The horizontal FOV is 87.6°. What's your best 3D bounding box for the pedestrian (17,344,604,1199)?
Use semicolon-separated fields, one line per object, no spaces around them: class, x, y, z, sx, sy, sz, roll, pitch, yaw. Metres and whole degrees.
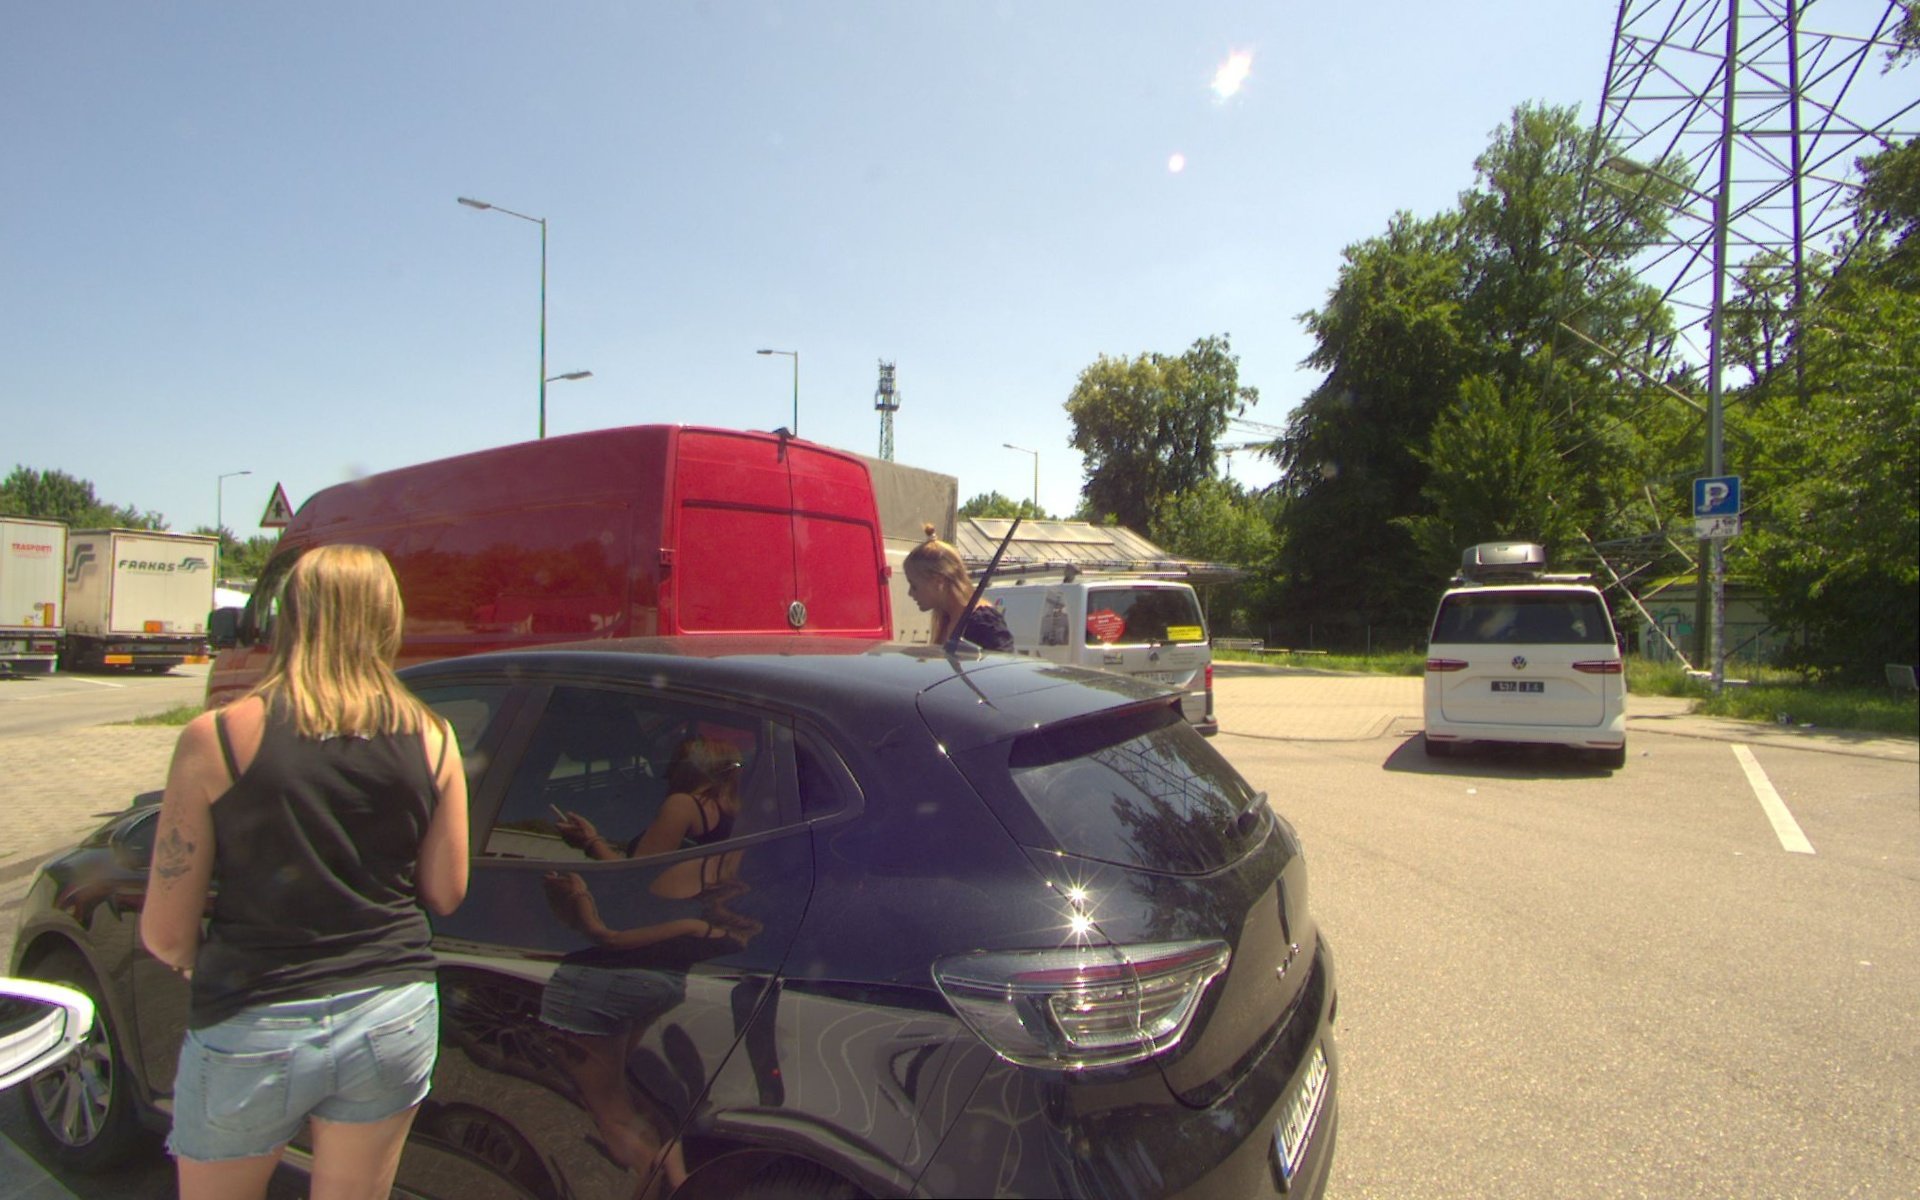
pedestrian;-1.061;0.509;1.646;0.641;1.606;0.649;1;-1;41

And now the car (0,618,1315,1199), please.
car;-1.056;0.834;2.835;3.706;1.503;1.615;0;-1;27

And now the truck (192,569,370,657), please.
truck;-31.690;0.503;46.465;11.255;3.615;2.484;2;-1;33

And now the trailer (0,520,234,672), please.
trailer;-27.291;-0.203;31.453;12.255;4.090;2.862;2;-1;33

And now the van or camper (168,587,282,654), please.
van or camper;-30.409;0.817;41.375;5.296;2.595;2.100;0;-1;34

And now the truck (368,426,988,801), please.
truck;-3.257;0.131;10.548;6.874;2.828;2.460;0;-1;35

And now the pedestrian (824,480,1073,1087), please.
pedestrian;-0.091;0.590;3.642;0.759;1.896;0.916;1;0;-9

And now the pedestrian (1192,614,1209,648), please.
pedestrian;10.980;1.427;45.728;0.577;1.536;0.592;1;0;-9

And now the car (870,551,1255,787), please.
car;0.886;0.691;12.110;1.970;2.178;5.289;-2;0;-28

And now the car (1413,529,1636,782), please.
car;6.543;0.567;11.549;1.892;2.354;4.074;-1;-1;32

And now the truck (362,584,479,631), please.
truck;-34.720;0.463;64.267;9.637;2.857;2.121;0;-1;33

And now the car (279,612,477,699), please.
car;-11.913;1.066;20.456;3.890;1.582;1.840;0;-1;31

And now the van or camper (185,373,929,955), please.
van or camper;-3.362;0.323;7.342;6.394;2.688;1.990;0;-1;36

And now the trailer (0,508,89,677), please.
trailer;-28.352;-0.333;27.788;12.255;4.090;2.862;2;-1;33
